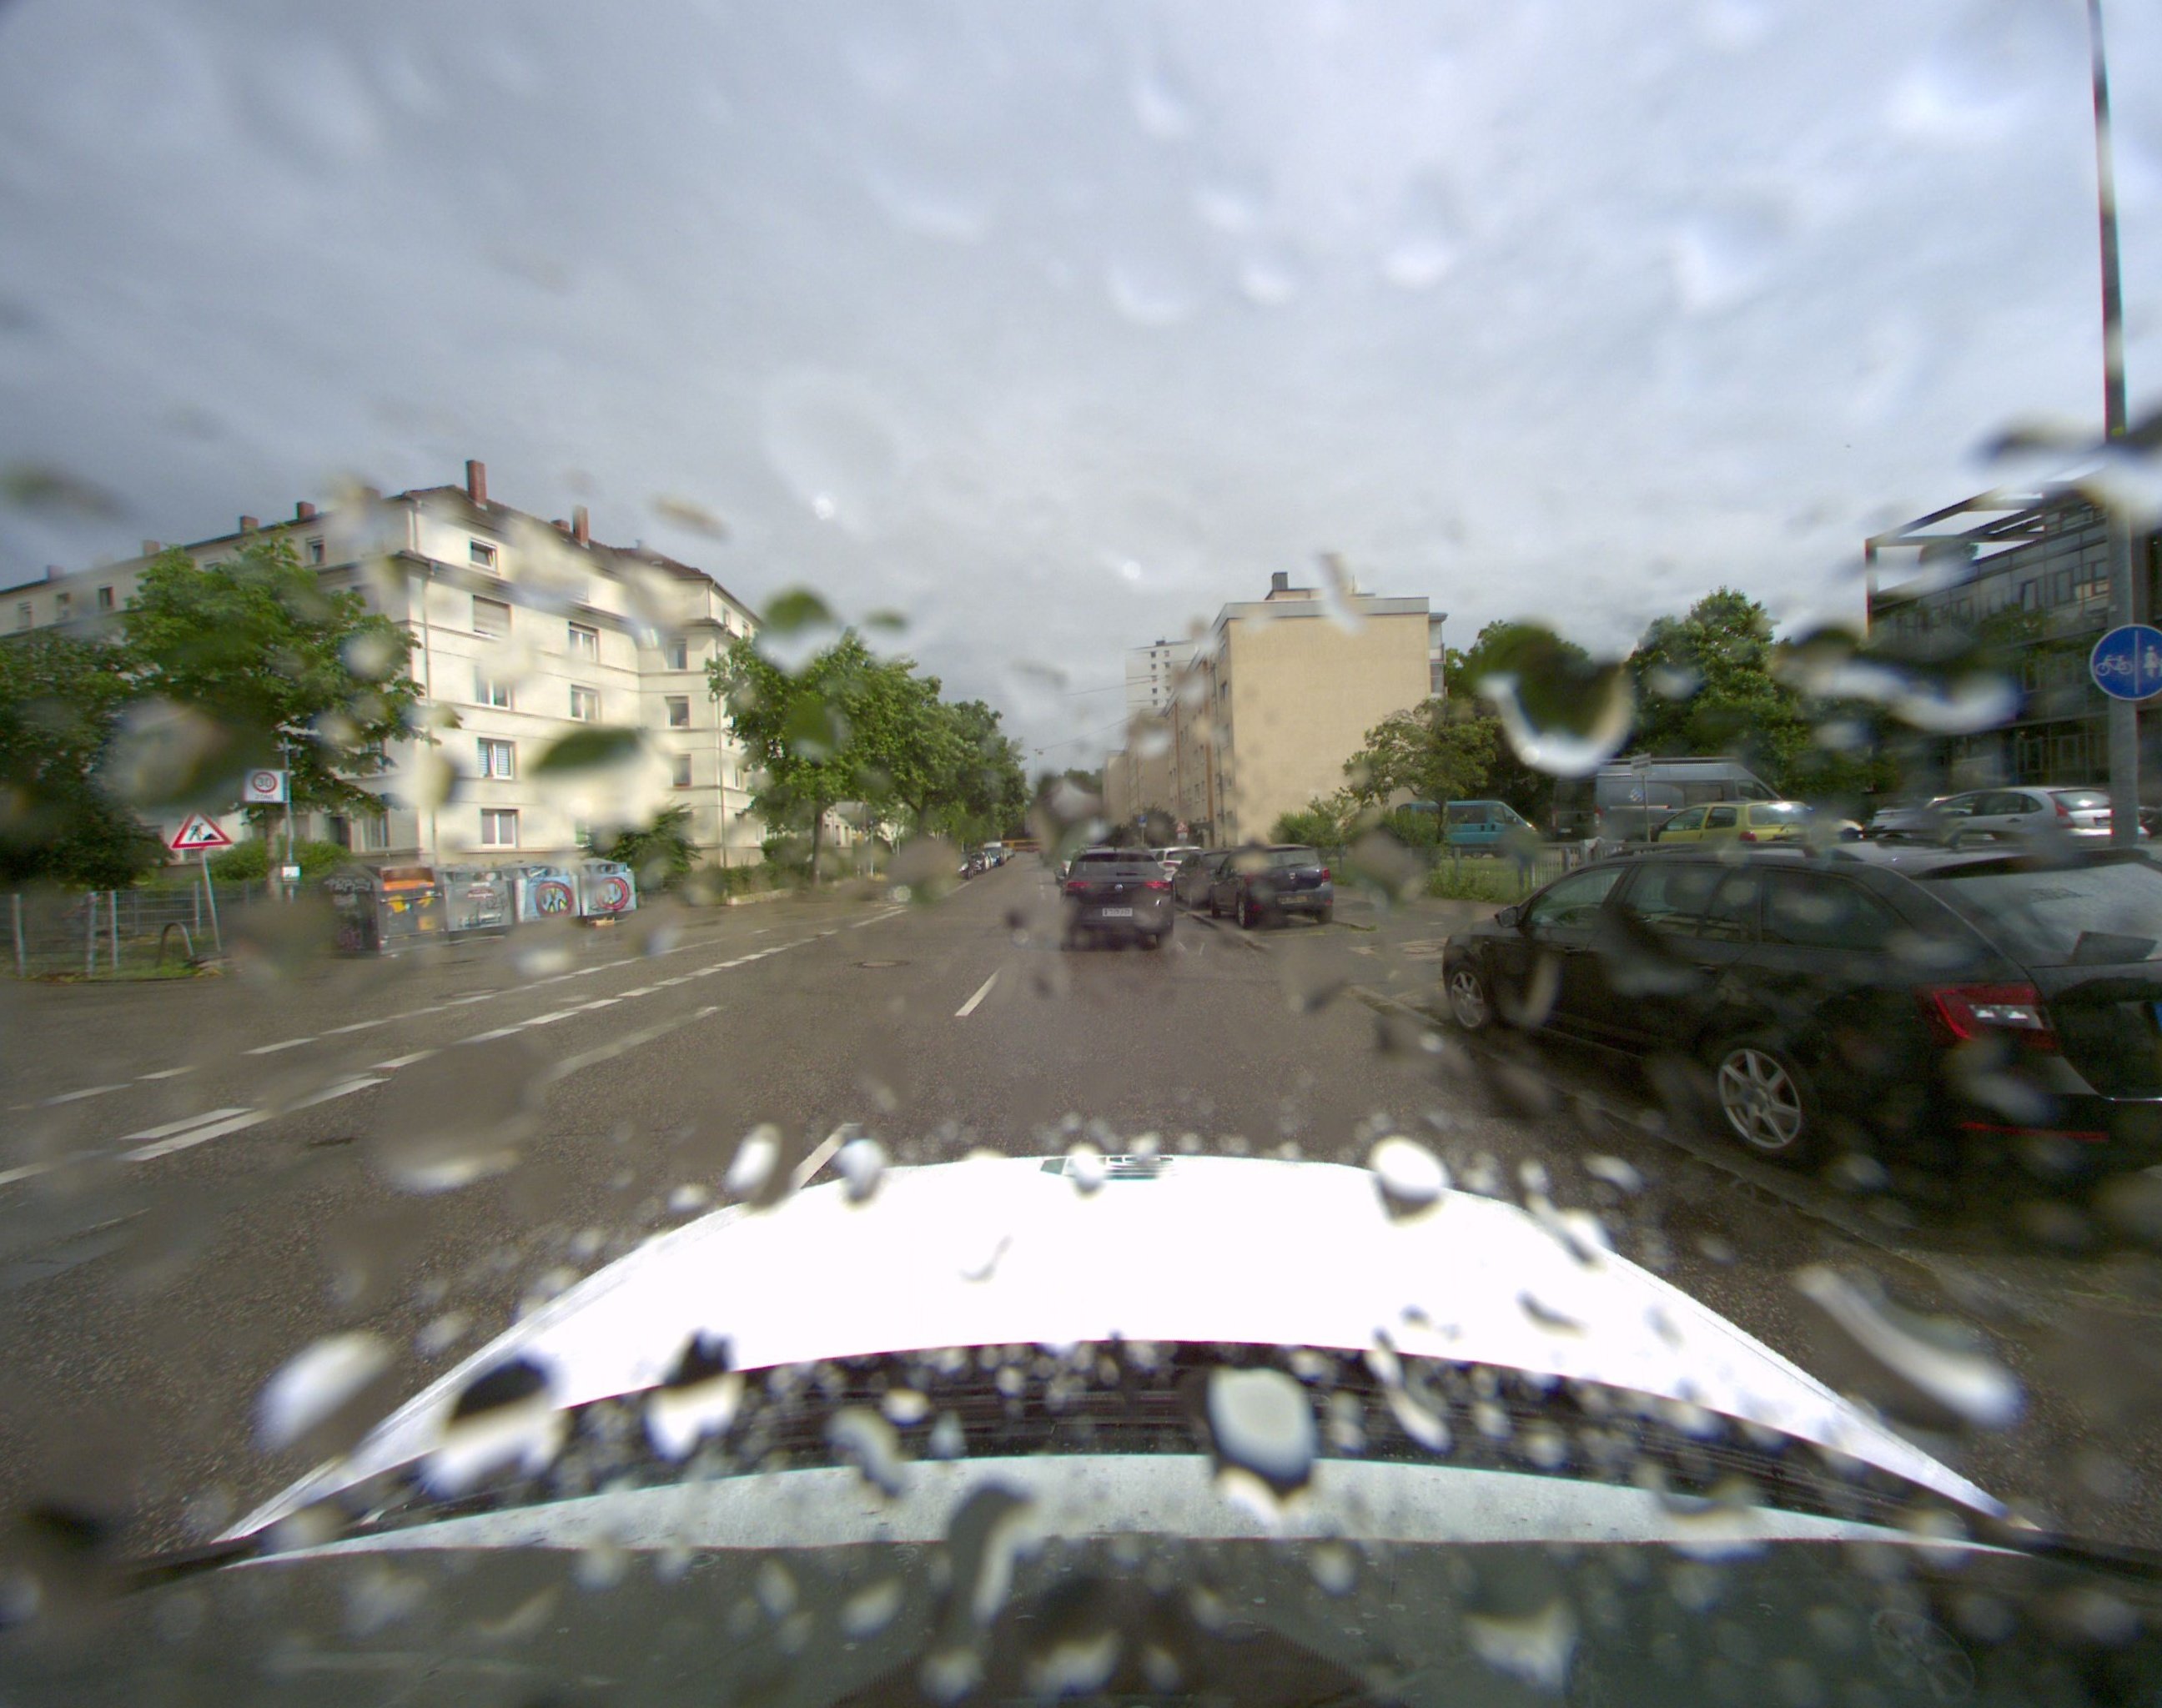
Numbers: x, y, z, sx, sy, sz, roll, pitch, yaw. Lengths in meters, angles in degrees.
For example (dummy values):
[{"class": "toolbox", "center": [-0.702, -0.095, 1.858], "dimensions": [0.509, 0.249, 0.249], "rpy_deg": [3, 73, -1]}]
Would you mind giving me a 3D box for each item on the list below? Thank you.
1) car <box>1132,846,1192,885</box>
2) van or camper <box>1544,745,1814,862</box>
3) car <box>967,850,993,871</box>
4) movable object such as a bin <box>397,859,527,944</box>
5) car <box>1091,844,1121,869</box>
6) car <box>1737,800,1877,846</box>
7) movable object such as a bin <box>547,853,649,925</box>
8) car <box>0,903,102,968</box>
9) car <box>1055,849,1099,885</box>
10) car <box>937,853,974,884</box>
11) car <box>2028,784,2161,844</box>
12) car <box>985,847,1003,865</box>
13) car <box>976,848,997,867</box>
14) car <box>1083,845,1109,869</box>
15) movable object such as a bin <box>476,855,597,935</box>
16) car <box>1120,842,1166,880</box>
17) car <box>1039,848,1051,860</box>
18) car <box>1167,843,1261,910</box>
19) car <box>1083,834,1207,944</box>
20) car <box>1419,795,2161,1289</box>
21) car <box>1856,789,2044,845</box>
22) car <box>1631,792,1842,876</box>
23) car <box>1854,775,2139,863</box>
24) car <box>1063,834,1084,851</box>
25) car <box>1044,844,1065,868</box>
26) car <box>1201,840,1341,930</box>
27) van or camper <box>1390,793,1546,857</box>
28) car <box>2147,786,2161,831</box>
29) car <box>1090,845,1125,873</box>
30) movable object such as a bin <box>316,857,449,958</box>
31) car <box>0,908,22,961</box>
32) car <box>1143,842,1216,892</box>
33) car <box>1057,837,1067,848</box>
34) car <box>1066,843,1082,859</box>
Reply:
[{"class": "car", "center": [3.203, 0.433, 32.875], "dimensions": [1.713, 1.452, 4.253], "rpy_deg": [-1, 0, -4]}, {"class": "van or camper", "center": [14.593, -1.181, 20.118], "dimensions": [4.980, 2.554, 2.175], "rpy_deg": [-2, -1, 1]}, {"class": "car", "center": [-7.474, 0.460, 60.422], "dimensions": [1.583, 1.417, 3.914], "rpy_deg": [-4, 1, -4]}, {"class": "movable object such as a bin", "center": [-13.206, 0.991, 17.434], "dimensions": [1.525, 1.656, 1.535], "rpy_deg": [-3, 1, 19]}, {"class": "car", "center": [1.630, 0.149, 55.172], "dimensions": [1.601, 1.505, 4.027], "rpy_deg": [-4, 1, -4]}, {"class": "car", "center": [26.944, -1.133, 30.315], "dimensions": [3.651, 1.486, 1.641], "rpy_deg": [-3, 0, 3]}, {"class": "movable object such as a bin", "center": [-12.146, 0.852, 20.518], "dimensions": [1.525, 1.661, 1.466], "rpy_deg": [-3, 1, 19]}, {"class": "car", "center": [-27.405, 2.134, 19.840], "dimensions": [1.684, 1.442, 4.145], "rpy_deg": [-4, 1, 21]}, {"class": "car", "center": [-0.152, 0.557, 35.988], "dimensions": [1.807, 1.503, 4.000], "rpy_deg": [0, 0, 0]}, {"class": "car", "center": [-6.848, 0.781, 44.721], "dimensions": [1.583, 1.505, 4.058], "rpy_deg": [-4, 1, -4]}, {"class": "car", "center": [28.620, -1.114, 22.032], "dimensions": [3.959, 1.465, 1.673], "rpy_deg": [-3, 0, 1]}, {"class": "car", "center": [-8.578, 0.170, 80.519], "dimensions": [1.583, 1.639, 3.914], "rpy_deg": [-4, 1, -4]}, {"class": "car", "center": [-8.662, 0.280, 74.735], "dimensions": [1.583, 1.639, 3.914], "rpy_deg": [-4, 1, -4]}, {"class": "car", "center": [1.161, 0.200, 62.898], "dimensions": [1.601, 1.672, 4.027], "rpy_deg": [-4, 1, -4]}, {"class": "movable object such as a bin", "center": [-12.660, 0.932, 18.999], "dimensions": [1.525, 1.674, 1.674], "rpy_deg": [-3, 1, 19]}, {"class": "car", "center": [2.919, 0.285, 38.862], "dimensions": [1.601, 1.661, 4.026], "rpy_deg": [-1, 1, -4]}, {"class": "car", "center": [-5.244, -0.003, 117.376], "dimensions": [1.601, 1.510, 3.543], "rpy_deg": [-4, 1, -4]}, {"class": "car", "center": [3.420, 0.538, 21.728], "dimensions": [1.600, 1.508, 4.157], "rpy_deg": [-4, 0, -2]}, {"class": "car", "center": [0.977, 0.537, 14.341], "dimensions": [1.867, 1.645, 4.061], "rpy_deg": [-1, 0, 0]}, {"class": "car", "center": [3.905, 0.566, 4.886], "dimensions": [1.769, 1.539, 4.376], "rpy_deg": [-5, 1, -1]}, {"class": "car", "center": [26.845, -1.122, 25.247], "dimensions": [3.959, 1.465, 1.673], "rpy_deg": [-3, 0, 1]}, {"class": "car", "center": [13.044, -0.378, 16.482], "dimensions": [1.604, 1.448, 3.420], "rpy_deg": [-3, 1, 3]}, {"class": "car", "center": [18.109, -0.641, 16.408], "dimensions": [1.642, 1.486, 3.722], "rpy_deg": [-3, 1, 3]}, {"class": "car", "center": [-0.750, -1.197, 83.934], "dimensions": [1.834, 1.607, 3.676], "rpy_deg": [-4, 0, 1]}, {"class": "car", "center": [-2.321, 0.203, 72.425], "dimensions": [1.831, 2.103, 3.998], "rpy_deg": [0, 0, -1]}, {"class": "car", "center": [3.706, 0.556, 16.601], "dimensions": [1.752, 1.527, 3.997], "rpy_deg": [-3, 0, -2]}, {"class": "van or camper", "center": [14.338, -1.061, 30.428], "dimensions": [4.738, 2.131, 2.324], "rpy_deg": [-2, 1, 3]}, {"class": "car", "center": [37.577, -1.579, 26.440], "dimensions": [3.653, 1.486, 1.673], "rpy_deg": [-2, 0, 1]}, {"class": "car", "center": [1.560, 0.273, 49.154], "dimensions": [1.691, 1.538, 4.029], "rpy_deg": [-4, 1, -2]}, {"class": "movable object such as a bin", "center": [-13.581, 1.019, 15.859], "dimensions": [1.525, 1.824, 1.270], "rpy_deg": [-3, 1, 19]}, {"class": "car", "center": [-31.455, 2.354, 21.323], "dimensions": [1.684, 1.442, 4.145], "rpy_deg": [-4, 1, 21]}, {"class": "car", "center": [3.270, 0.375, 27.797], "dimensions": [1.745, 1.508, 4.107], "rpy_deg": [-2, 1, -3]}, {"class": "car", "center": [-3.480, -2.035, 147.003], "dimensions": [1.661, 1.837, 3.997], "rpy_deg": [-3, 1, -2]}, {"class": "car", "center": [-0.875, -0.330, 96.129], "dimensions": [1.601, 1.765, 4.027], "rpy_deg": [-4, 1, -4]}]
